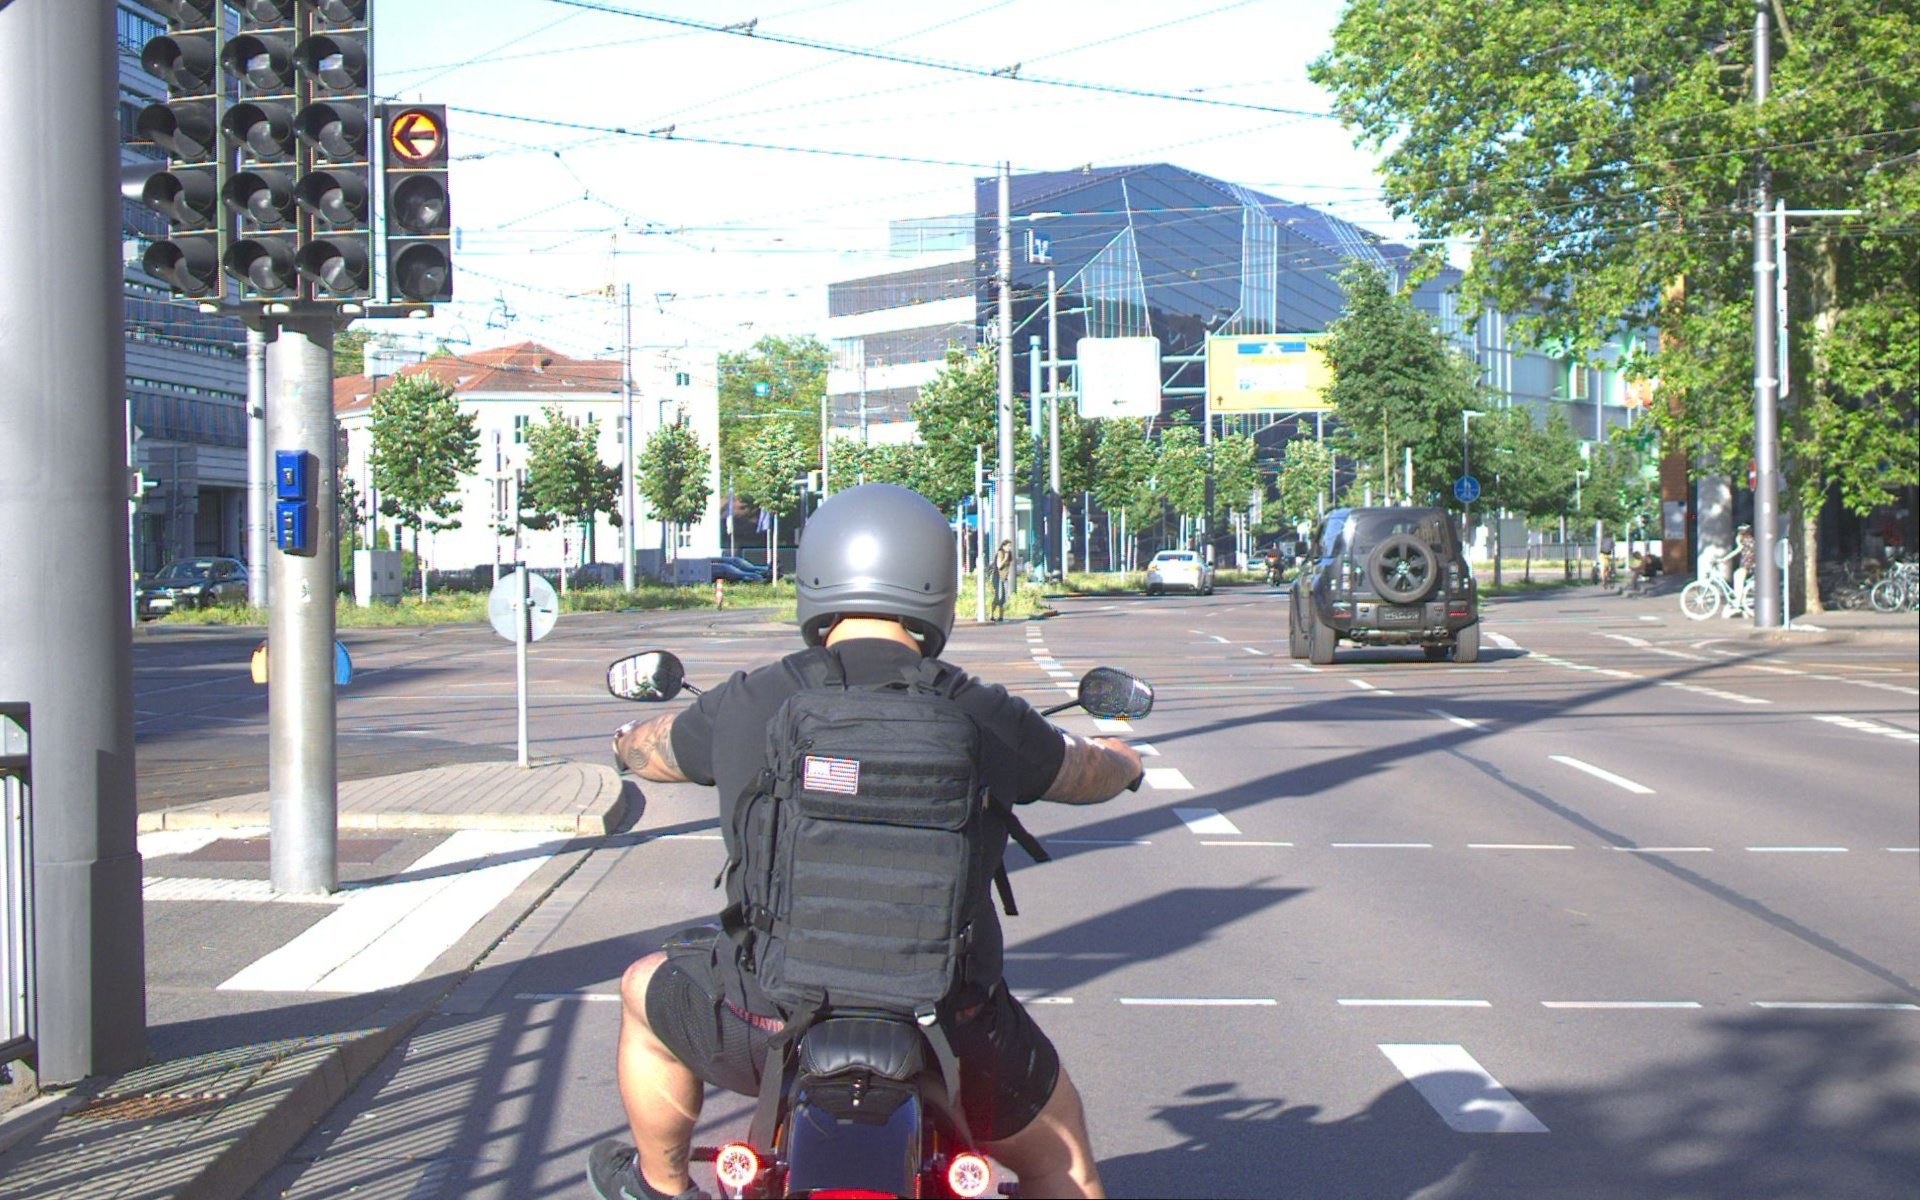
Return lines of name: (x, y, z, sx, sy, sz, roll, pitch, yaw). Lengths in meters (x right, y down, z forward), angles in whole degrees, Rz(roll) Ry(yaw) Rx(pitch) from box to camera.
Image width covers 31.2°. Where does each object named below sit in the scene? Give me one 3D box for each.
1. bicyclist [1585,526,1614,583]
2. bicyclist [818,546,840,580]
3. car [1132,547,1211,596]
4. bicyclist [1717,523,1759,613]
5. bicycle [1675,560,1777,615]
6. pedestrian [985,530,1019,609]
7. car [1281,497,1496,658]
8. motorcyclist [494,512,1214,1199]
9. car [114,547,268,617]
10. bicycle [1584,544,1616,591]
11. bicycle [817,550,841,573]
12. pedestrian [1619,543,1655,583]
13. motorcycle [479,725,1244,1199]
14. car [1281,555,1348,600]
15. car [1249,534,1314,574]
bicyclist: (20.847, -1.497, 111.999, 0.861, 1.834, 1.256, 0, 1, 14)
bicyclist: (-6.379, -1.796, 167.413, 0.764, 1.661, 0.993, 0, 1, 17)
car: (6.787, -0.918, 110.069, 1.902, 1.503, 3.998, 1, 1, 13)
bicyclist: (14.756, -0.611, 65.234, 0.743, 1.689, 0.570, -1, 0, 11)
bicycle: (14.535, -0.244, 65.273, 1.853, 1.018, 0.516, -1, 0, 11)
pedestrian: (0.853, -0.611, 69.262, 0.657, 1.577, 0.489, 0, 1, 3)
car: (5.237, -0.288, 42.557, 2.053, 1.867, 4.227, 1, 1, -1)
motorcyclist: (-0.164, 0.641, 5.592, 1.022, 1.547, 1.286, 1, 1, -1)
car: (-17.550, -0.431, 78.685, 1.792, 1.461, 4.309, -1, 2, 12)
bicycle: (20.833, -1.072, 111.910, 0.861, 1.476, 2.575, 0, 1, 14)
bicycle: (-6.364, -1.858, 167.414, 0.643, 1.104, 1.683, 0, 1, 18)
pedestrian: (17.867, -0.981, 90.673, 0.785, 1.053, 0.813, 0, 1, 22)
motorcycle: (-0.147, 0.839, 5.716, 1.005, 1.121, 2.323, 1, 1, -1)
car: (12.016, -0.772, 116.279, 1.843, 1.459, 3.998, 1, 1, 12)
car: (12.276, -1.765, 131.191, 1.774, 1.509, 3.730, 0, 1, 16)
